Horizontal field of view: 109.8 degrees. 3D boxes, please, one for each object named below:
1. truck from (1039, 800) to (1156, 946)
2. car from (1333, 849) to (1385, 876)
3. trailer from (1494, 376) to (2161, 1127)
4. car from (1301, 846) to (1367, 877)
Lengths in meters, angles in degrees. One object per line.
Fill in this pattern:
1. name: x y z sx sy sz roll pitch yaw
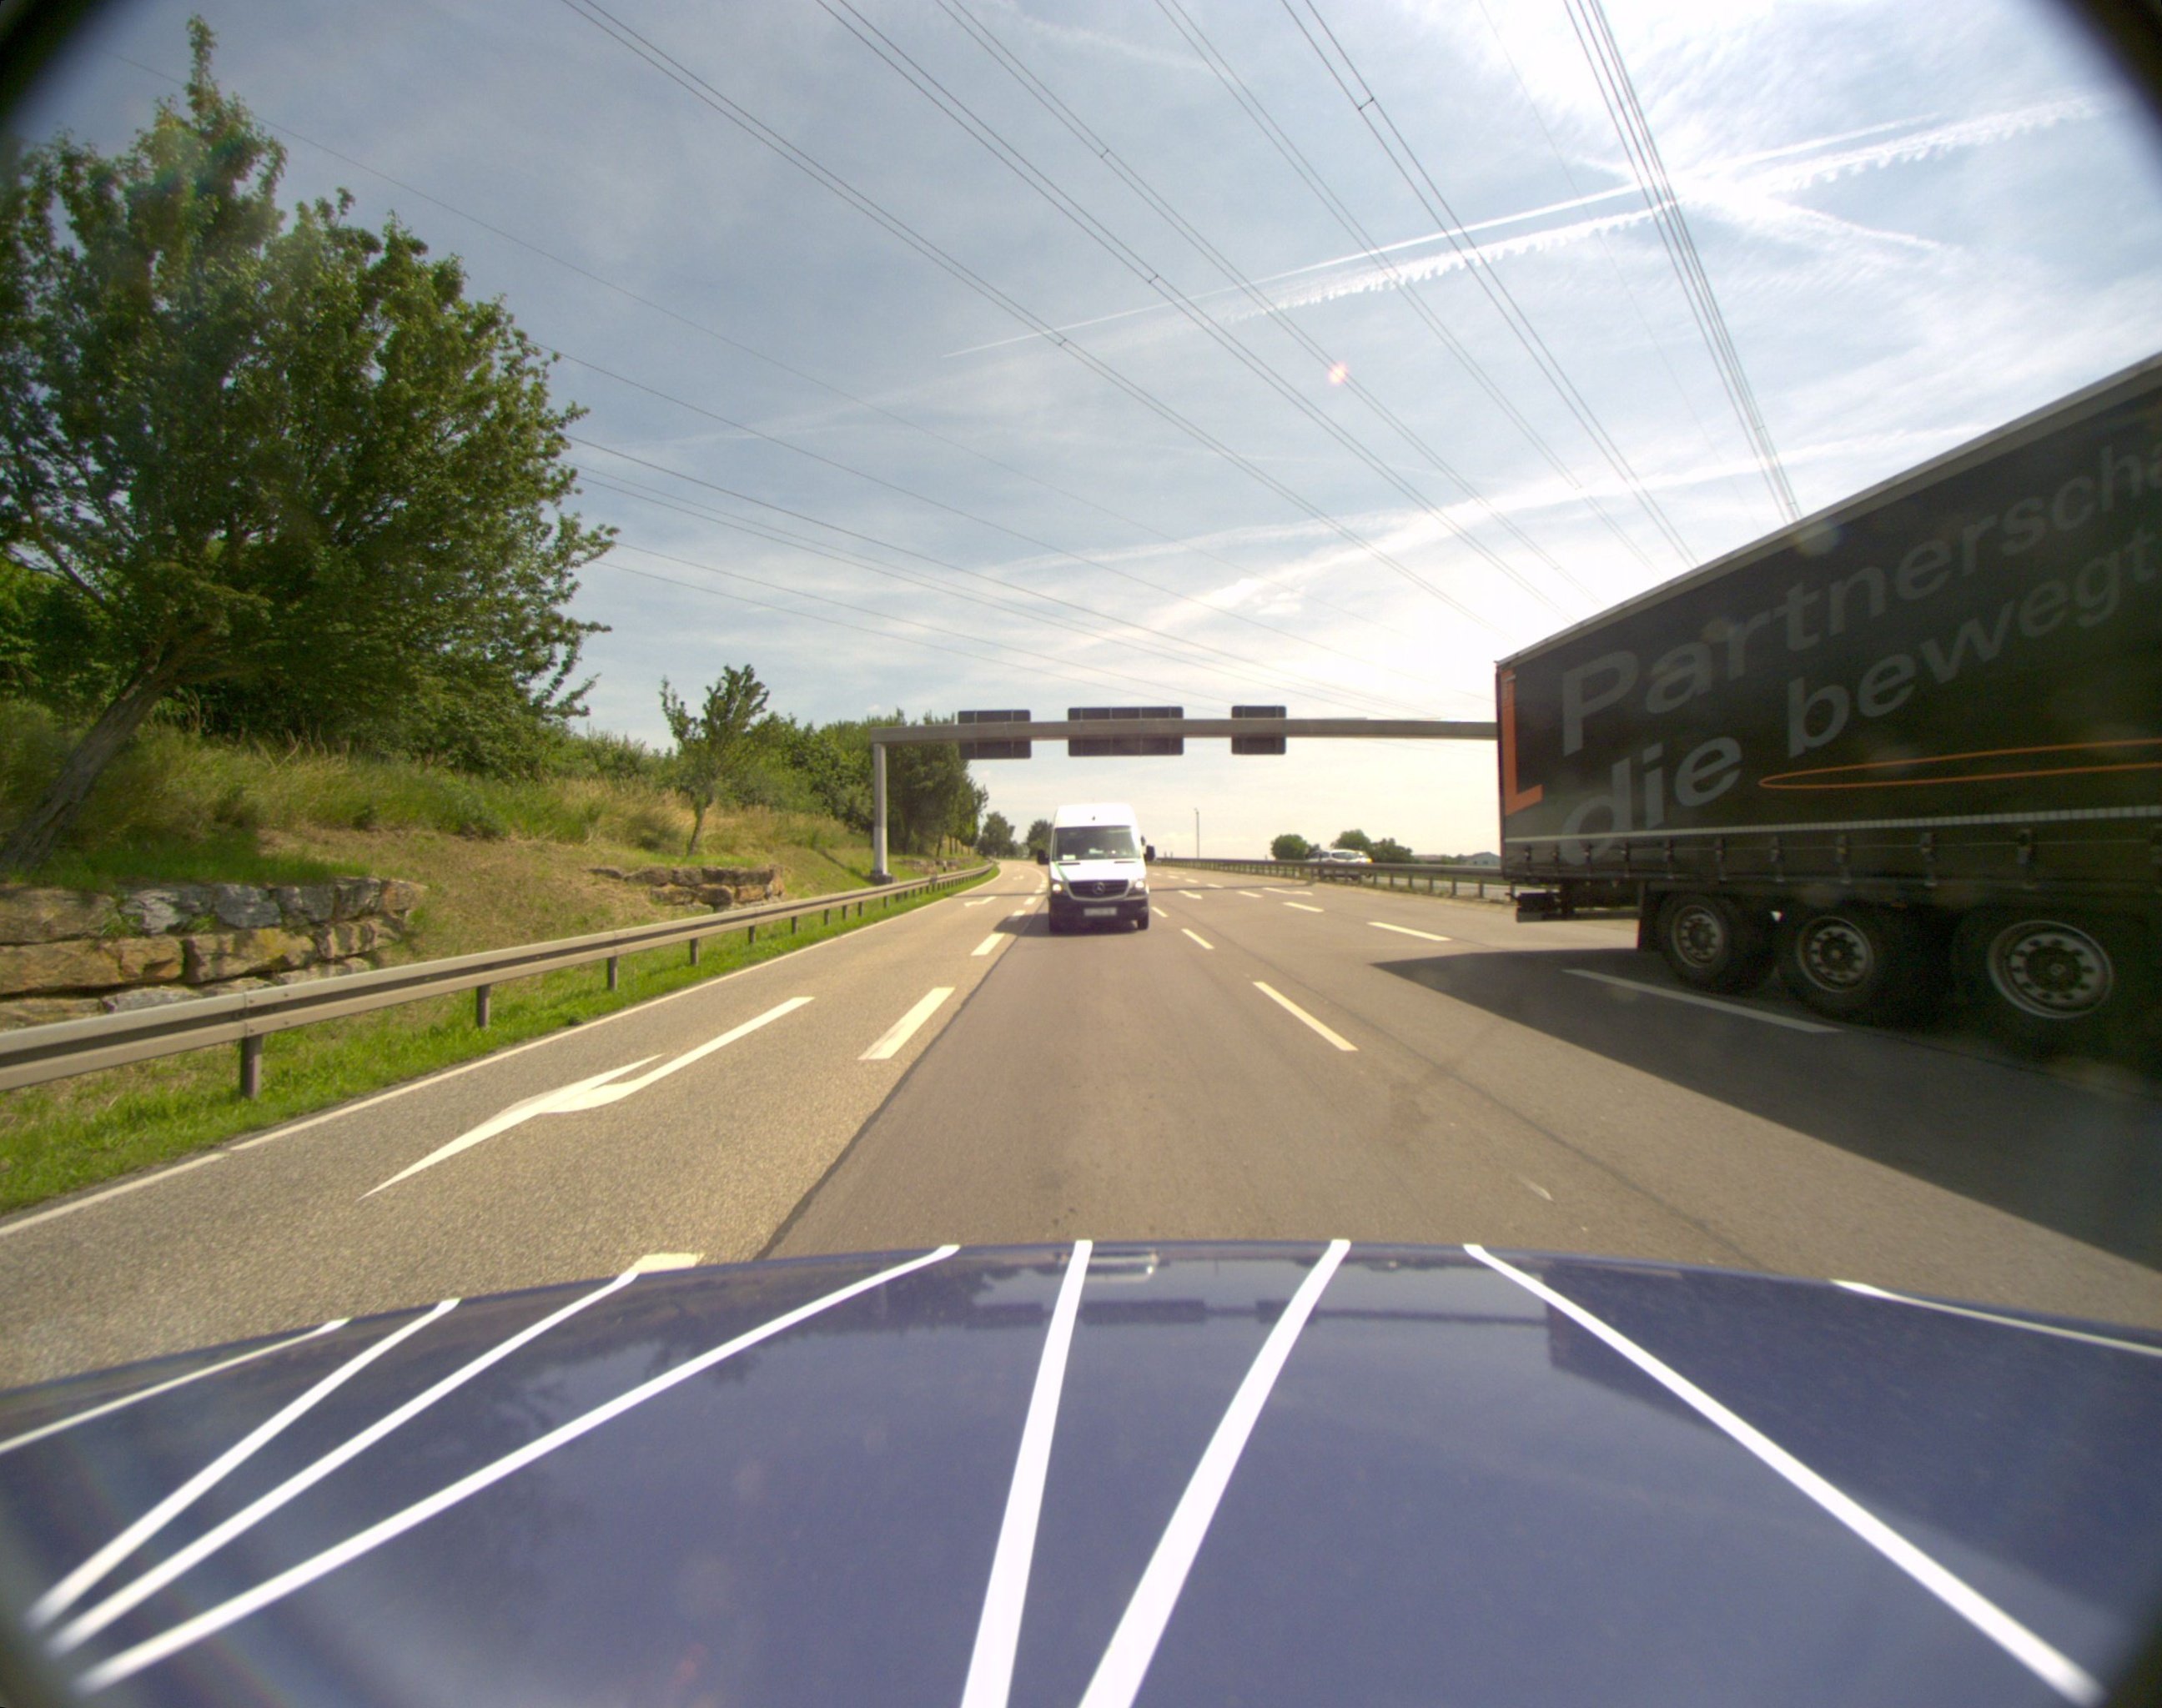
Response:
1. truck: 0.325 0.314 16.001 1.998 2.518 5.104 -2 1 1
2. car: 15.830 0.445 43.415 1.518 1.472 3.703 1 0 -1
3. trailer: 7.007 -0.551 3.355 2.790 3.891 13.784 -2 1 0
4. car: 12.443 0.335 37.670 1.740 1.434 4.323 1 1 -1
